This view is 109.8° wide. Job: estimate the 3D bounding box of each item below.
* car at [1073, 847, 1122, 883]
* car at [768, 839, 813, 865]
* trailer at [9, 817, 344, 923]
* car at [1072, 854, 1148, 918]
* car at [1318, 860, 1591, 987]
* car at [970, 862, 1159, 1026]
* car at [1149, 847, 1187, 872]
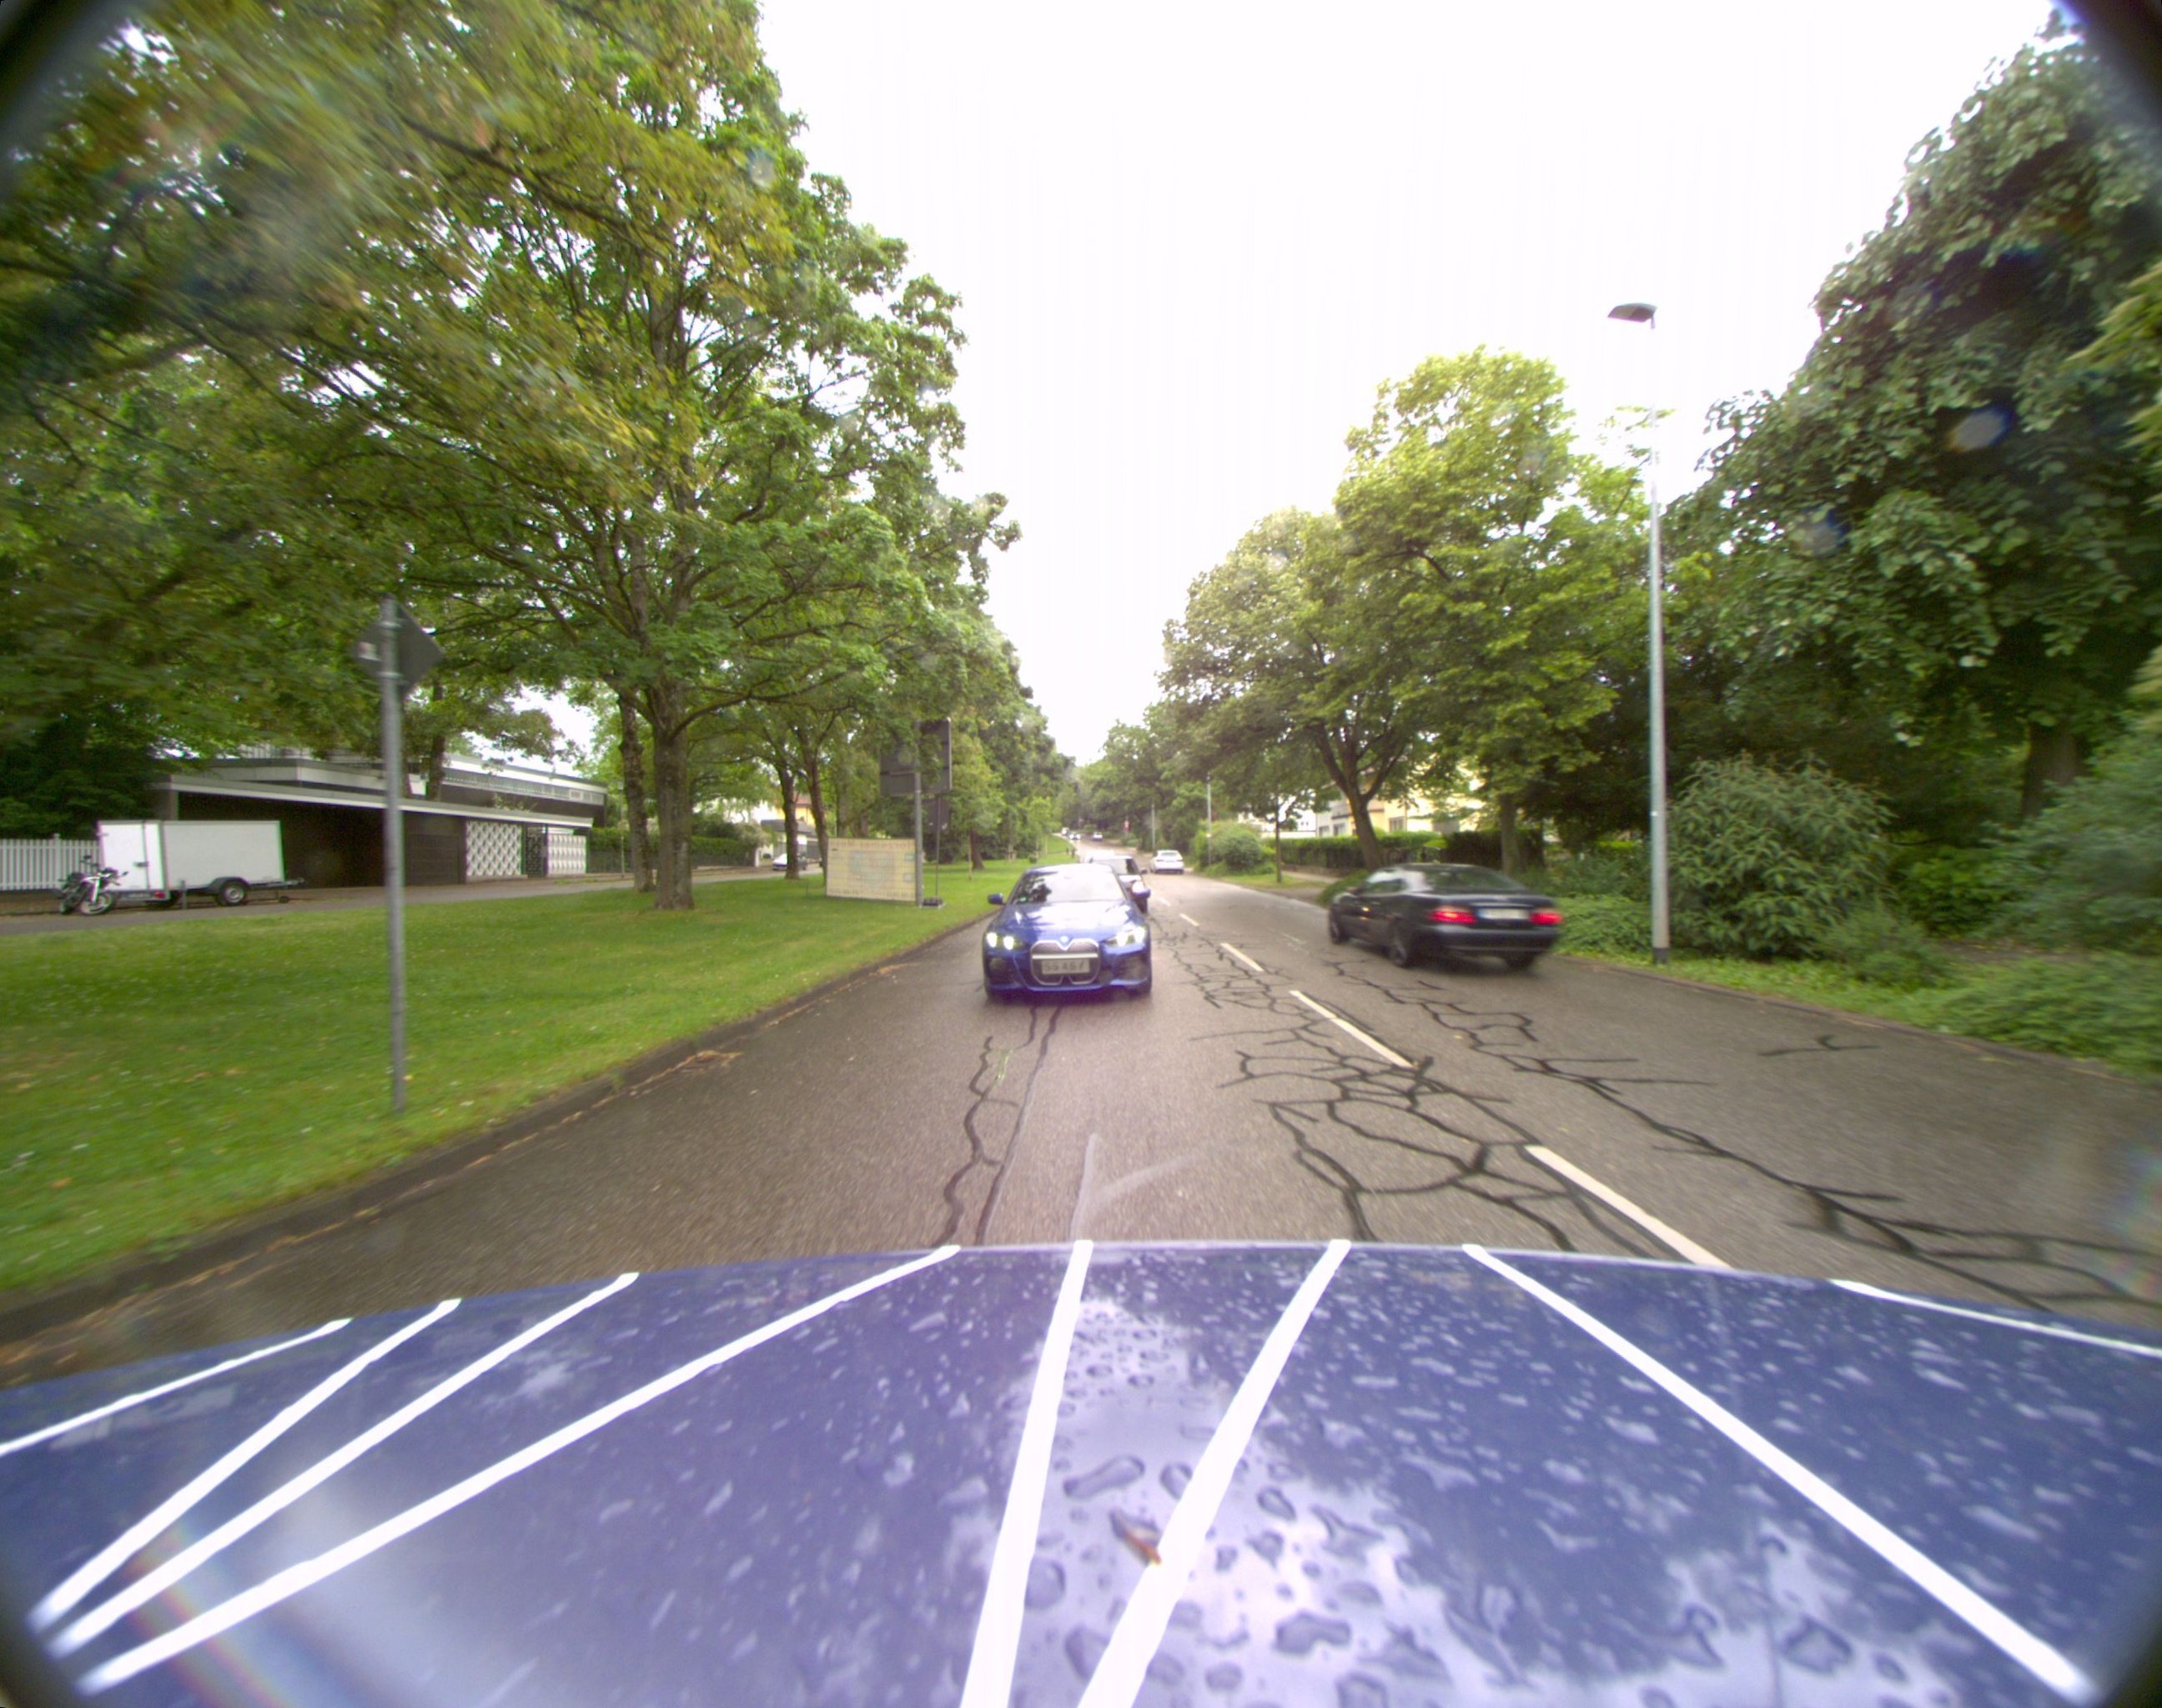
[{"bbox_3d":[0.799,0.465,34.650,2.031,1.471,4.067,-2,1,2],"label":"car"},{"bbox_3d":[-22.923,-0.166,60.145,1.998,2.002,4.000,0,1,1],"label":"car"},{"bbox_3d":[-21.107,0.306,18.217,1.771,2.104,5.191,-2,1,-1],"label":"trailer"},{"bbox_3d":[0.734,0.793,20.804,1.826,1.471,4.067,-2,1,1],"label":"car"},{"bbox_3d":[4.944,0.816,10.860,1.769,1.341,4.377,1,1,1],"label":"car"},{"bbox_3d":[-0.135,0.922,9.600,1.826,1.471,4.067,-2,1,1],"label":"car"},{"bbox_3d":[5.315,0.305,46.823,1.826,1.471,4.066,0,1,0],"label":"car"}]
